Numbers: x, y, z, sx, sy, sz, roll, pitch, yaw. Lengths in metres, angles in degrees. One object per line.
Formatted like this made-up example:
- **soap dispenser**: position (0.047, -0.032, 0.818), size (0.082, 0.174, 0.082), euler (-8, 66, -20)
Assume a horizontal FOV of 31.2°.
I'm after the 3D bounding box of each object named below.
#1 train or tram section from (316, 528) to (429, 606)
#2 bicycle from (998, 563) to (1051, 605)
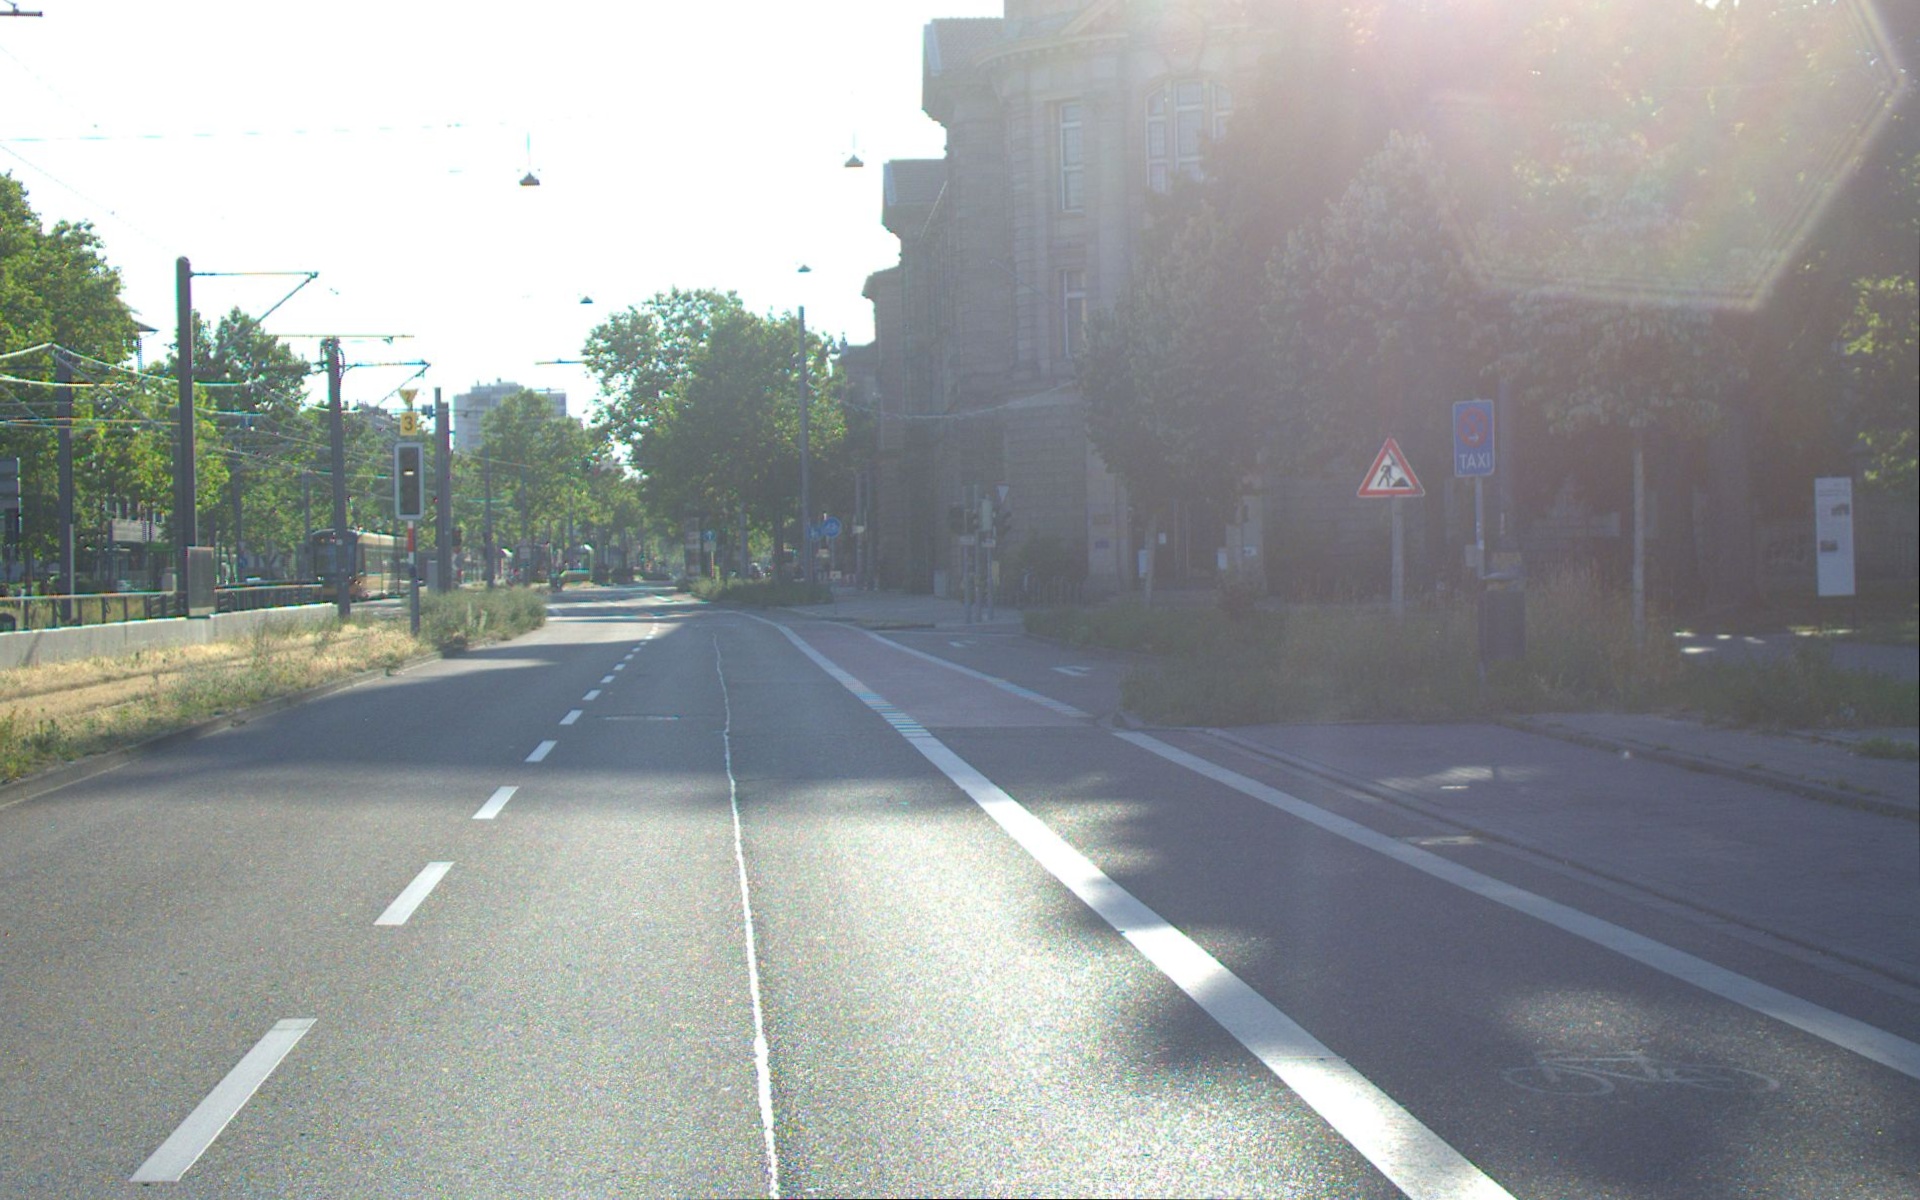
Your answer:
- **train or tram section**: position (-28.677, -1.639, 168.609), size (3.112, 3.547, 17.479), euler (-2, 1, -2)
- **bicycle**: position (1.925, -0.486, 102.294), size (0.867, 1.192, 2.237), euler (-1, 0, 19)
